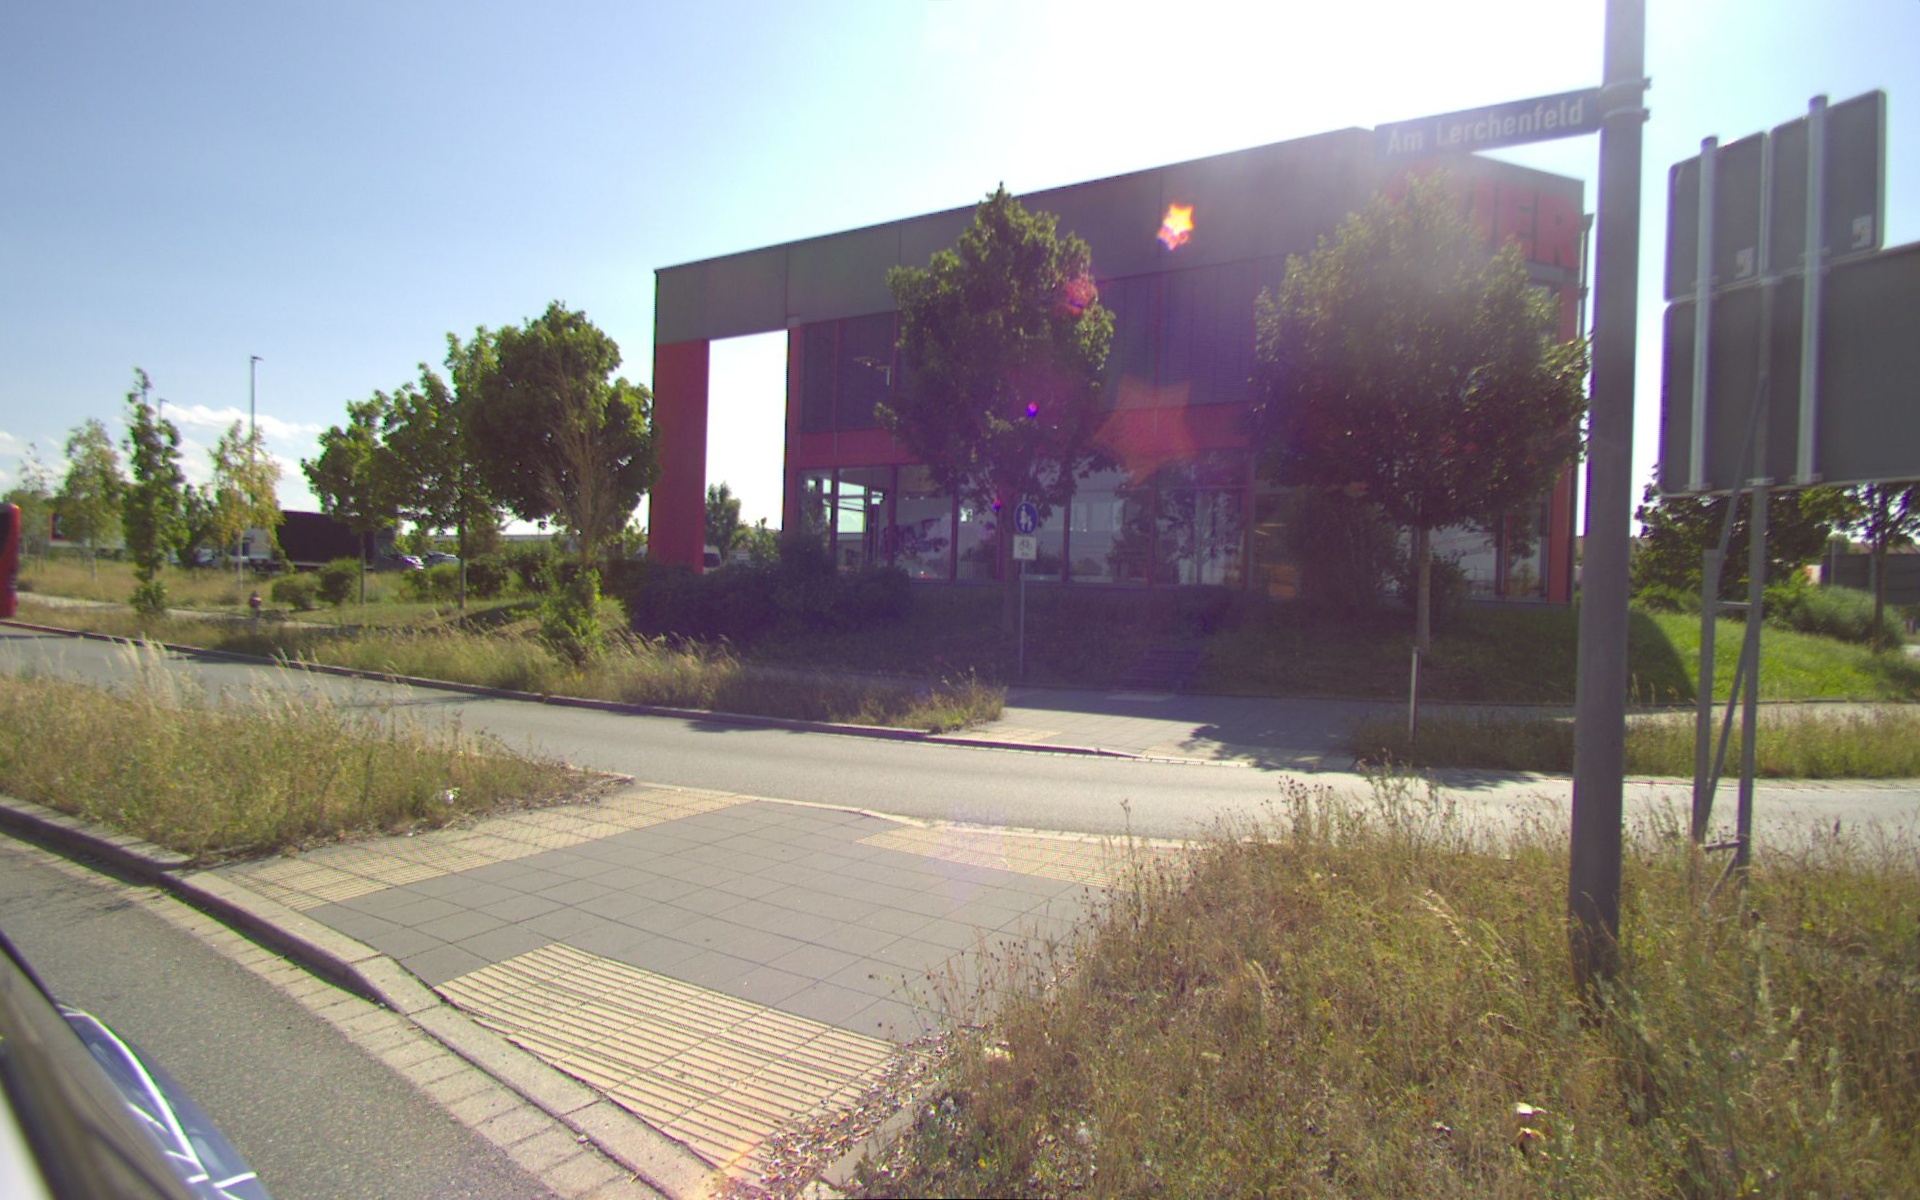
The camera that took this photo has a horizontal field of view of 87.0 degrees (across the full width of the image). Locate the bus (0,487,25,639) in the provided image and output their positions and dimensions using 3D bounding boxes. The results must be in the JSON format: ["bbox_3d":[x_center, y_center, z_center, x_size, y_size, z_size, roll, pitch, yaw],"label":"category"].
[{"bbox_3d":[-26.240,-0.951,23.994,11.834,3.266,2.591,1,0,30],"label":"bus"}]
